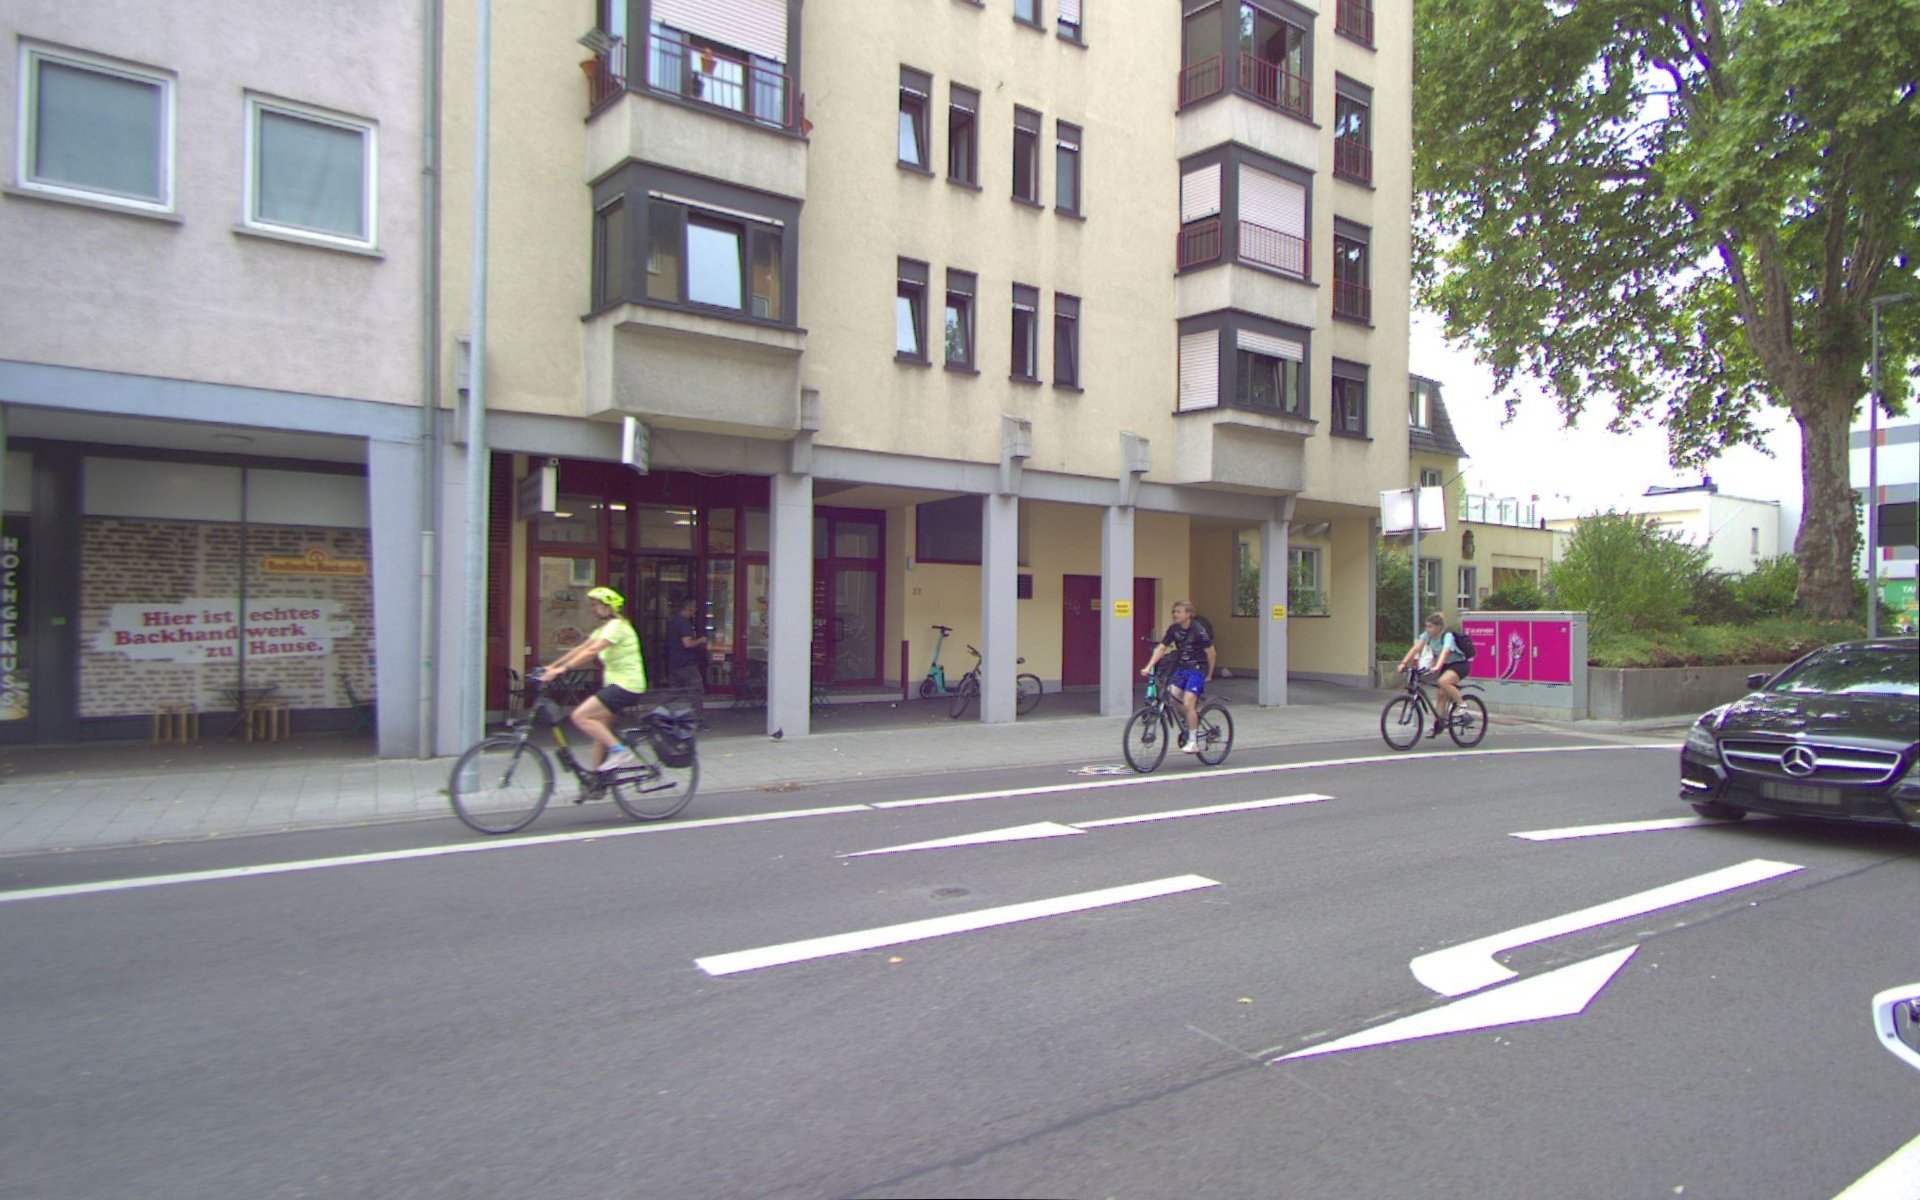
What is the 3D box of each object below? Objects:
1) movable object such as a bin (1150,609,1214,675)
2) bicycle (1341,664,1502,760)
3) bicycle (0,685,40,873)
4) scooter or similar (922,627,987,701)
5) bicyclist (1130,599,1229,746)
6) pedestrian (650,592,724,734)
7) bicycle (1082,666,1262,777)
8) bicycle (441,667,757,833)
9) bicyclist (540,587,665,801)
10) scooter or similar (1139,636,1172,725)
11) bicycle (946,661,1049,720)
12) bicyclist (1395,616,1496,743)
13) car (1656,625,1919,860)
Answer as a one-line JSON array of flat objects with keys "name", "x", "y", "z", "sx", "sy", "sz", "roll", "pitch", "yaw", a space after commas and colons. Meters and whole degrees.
[{"name": "movable object such as a bin", "x": 5.467, "y": 1.020, "z": 24.765, "sx": 1.055, "sy": 1.561, "sz": 1.135, "roll": 1, "pitch": -1, "yaw": -33}, {"name": "bicycle", "x": 5.979, "y": 1.409, "z": 12.977, "sx": 2.167, "sy": 1.020, "sz": 0.734, "roll": 0, "pitch": 1, "yaw": -28}, {"name": "bicycle", "x": -6.413, "y": 1.050, "z": 5.490, "sx": 1.884, "sy": 1.020, "sz": 0.735, "roll": 0, "pitch": 1, "yaw": -27}, {"name": "scooter or similar", "x": -0.083, "y": 1.096, "z": 17.514, "sx": 1.165, "sy": 1.218, "sz": 0.284, "roll": -1, "pitch": 0, "yaw": -35}, {"name": "bicyclist", "x": 2.423, "y": 0.769, "z": 11.099, "sx": 0.845, "sy": 1.546, "sz": 0.654, "roll": 0, "pitch": 1, "yaw": -27}, {"name": "pedestrian", "x": -3.584, "y": 0.803, "z": 13.167, "sx": 0.775, "sy": 1.781, "sz": 0.578, "roll": 1, "pitch": 1, "yaw": -31}, {"name": "bicycle", "x": 2.366, "y": 1.301, "z": 11.147, "sx": 1.951, "sy": 1.020, "sz": 0.734, "roll": 0, "pitch": 1, "yaw": -28}, {"name": "bicycle", "x": -2.758, "y": 1.094, "z": 7.786, "sx": 2.223, "sy": 1.020, "sz": 0.735, "roll": 0, "pitch": 1, "yaw": -27}, {"name": "bicyclist", "x": -2.764, "y": 0.675, "z": 7.746, "sx": 0.830, "sy": 1.546, "sz": 0.654, "roll": 0, "pitch": 1, "yaw": -27}, {"name": "scooter or similar", "x": 2.972, "y": 1.199, "z": 15.231, "sx": 0.281, "sy": 1.281, "sz": 1.176, "roll": 0, "pitch": -1, "yaw": 22}, {"name": "bicycle", "x": 0.590, "y": 1.379, "z": 15.429, "sx": 1.600, "sy": 0.832, "sz": 0.427, "roll": 1, "pitch": -1, "yaw": -31}, {"name": "bicyclist", "x": 6.270, "y": 0.994, "z": 12.971, "sx": 1.062, "sy": 1.546, "sz": 0.654, "roll": 0, "pitch": 1, "yaw": -27}, {"name": "car", "x": 7.546, "y": 0.934, "z": 7.860, "sx": 4.557, "sy": 1.426, "sz": 1.801, "roll": 1, "pitch": -1, "yaw": -32}]
